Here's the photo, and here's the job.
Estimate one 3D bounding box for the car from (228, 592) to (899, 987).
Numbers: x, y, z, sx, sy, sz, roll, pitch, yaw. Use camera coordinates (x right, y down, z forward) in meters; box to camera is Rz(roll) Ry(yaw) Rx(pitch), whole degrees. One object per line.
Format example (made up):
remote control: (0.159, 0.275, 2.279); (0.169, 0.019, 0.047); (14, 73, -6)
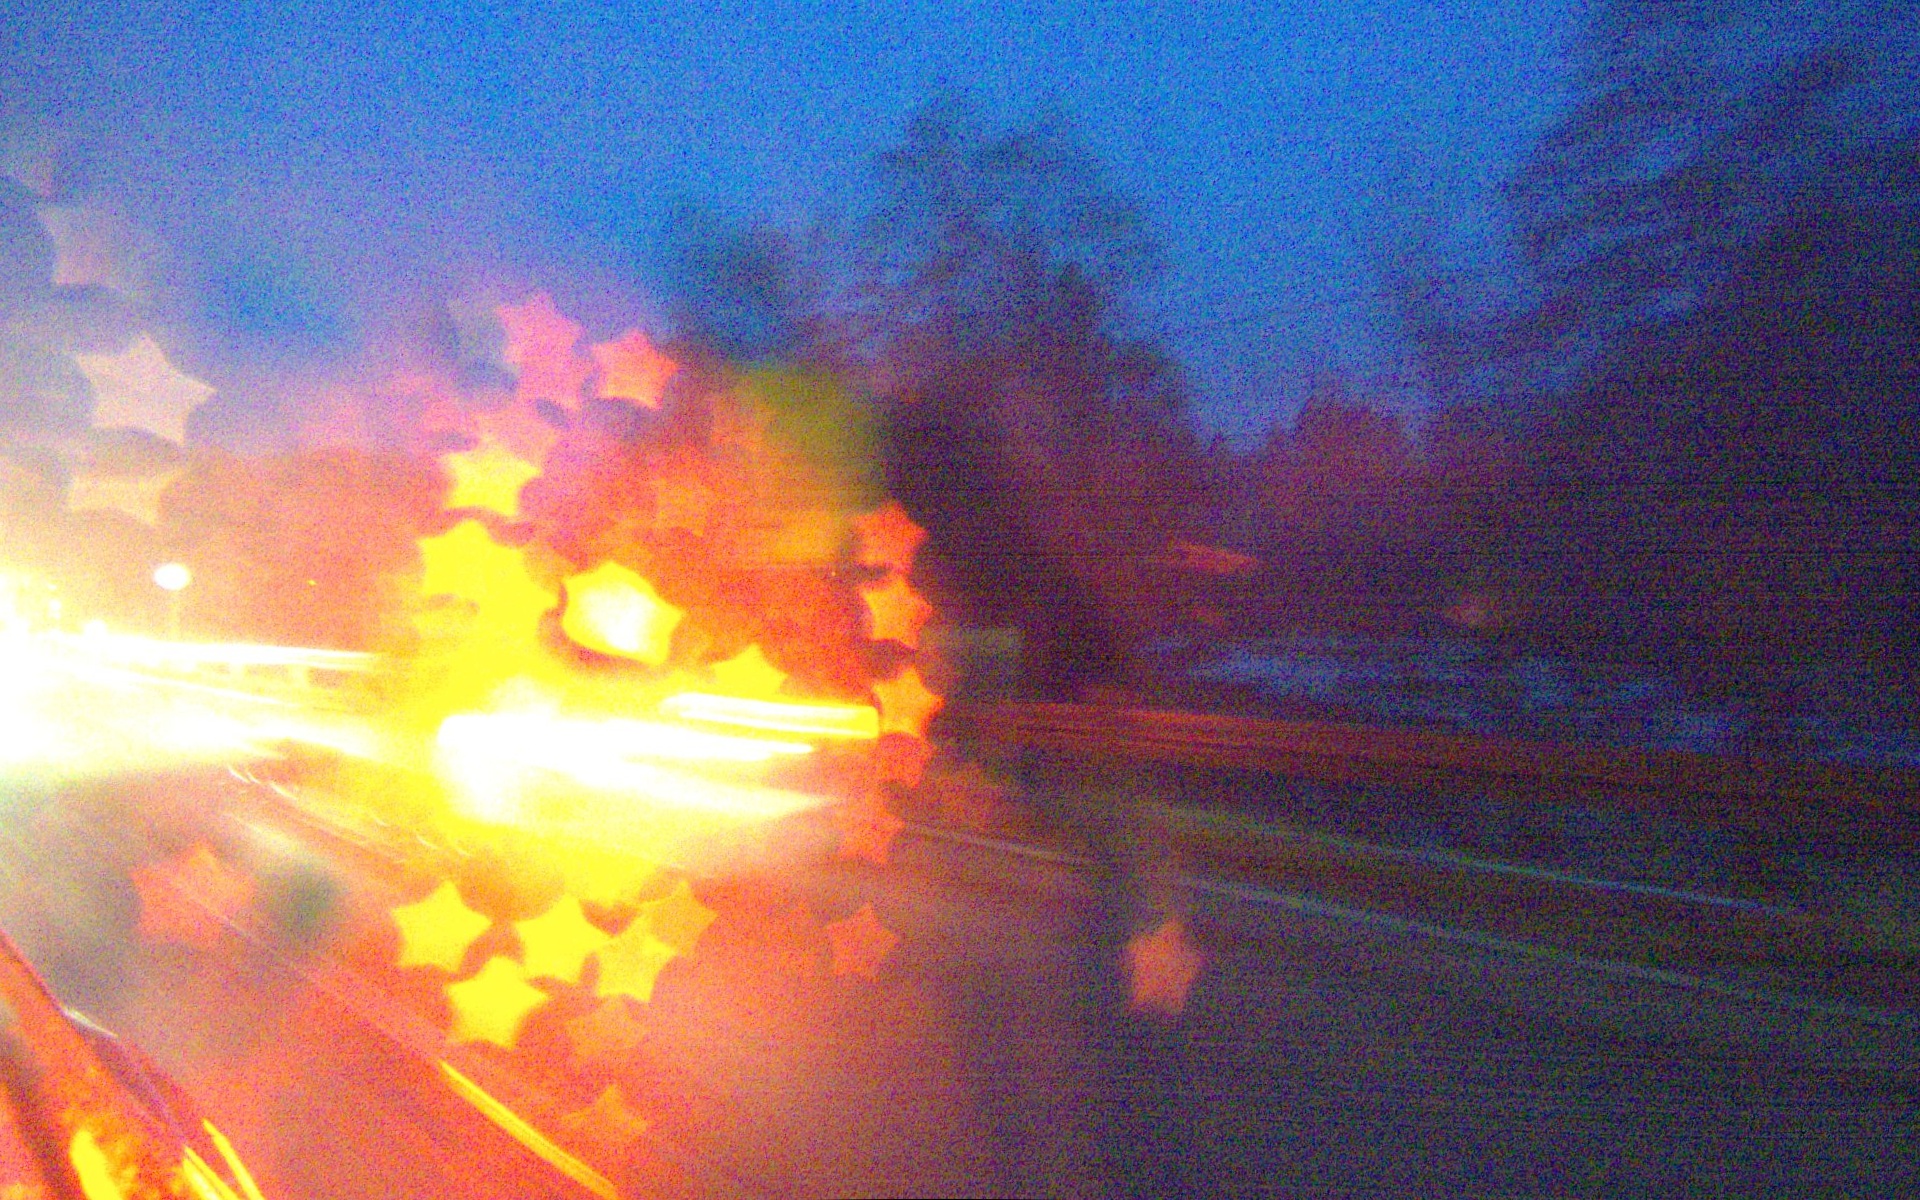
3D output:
car: (-2.623, 0.780, 6.106); (4.354, 1.508, 1.973); (-2, 0, 41)

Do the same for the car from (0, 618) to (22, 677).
car: (-27.330, 1.310, 27.992); (3.999, 1.566, 1.697); (-1, 0, 42)

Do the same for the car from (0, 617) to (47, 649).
car: (-49.935, 1.737, 53.609); (4.440, 1.566, 1.811); (-2, 0, 42)
